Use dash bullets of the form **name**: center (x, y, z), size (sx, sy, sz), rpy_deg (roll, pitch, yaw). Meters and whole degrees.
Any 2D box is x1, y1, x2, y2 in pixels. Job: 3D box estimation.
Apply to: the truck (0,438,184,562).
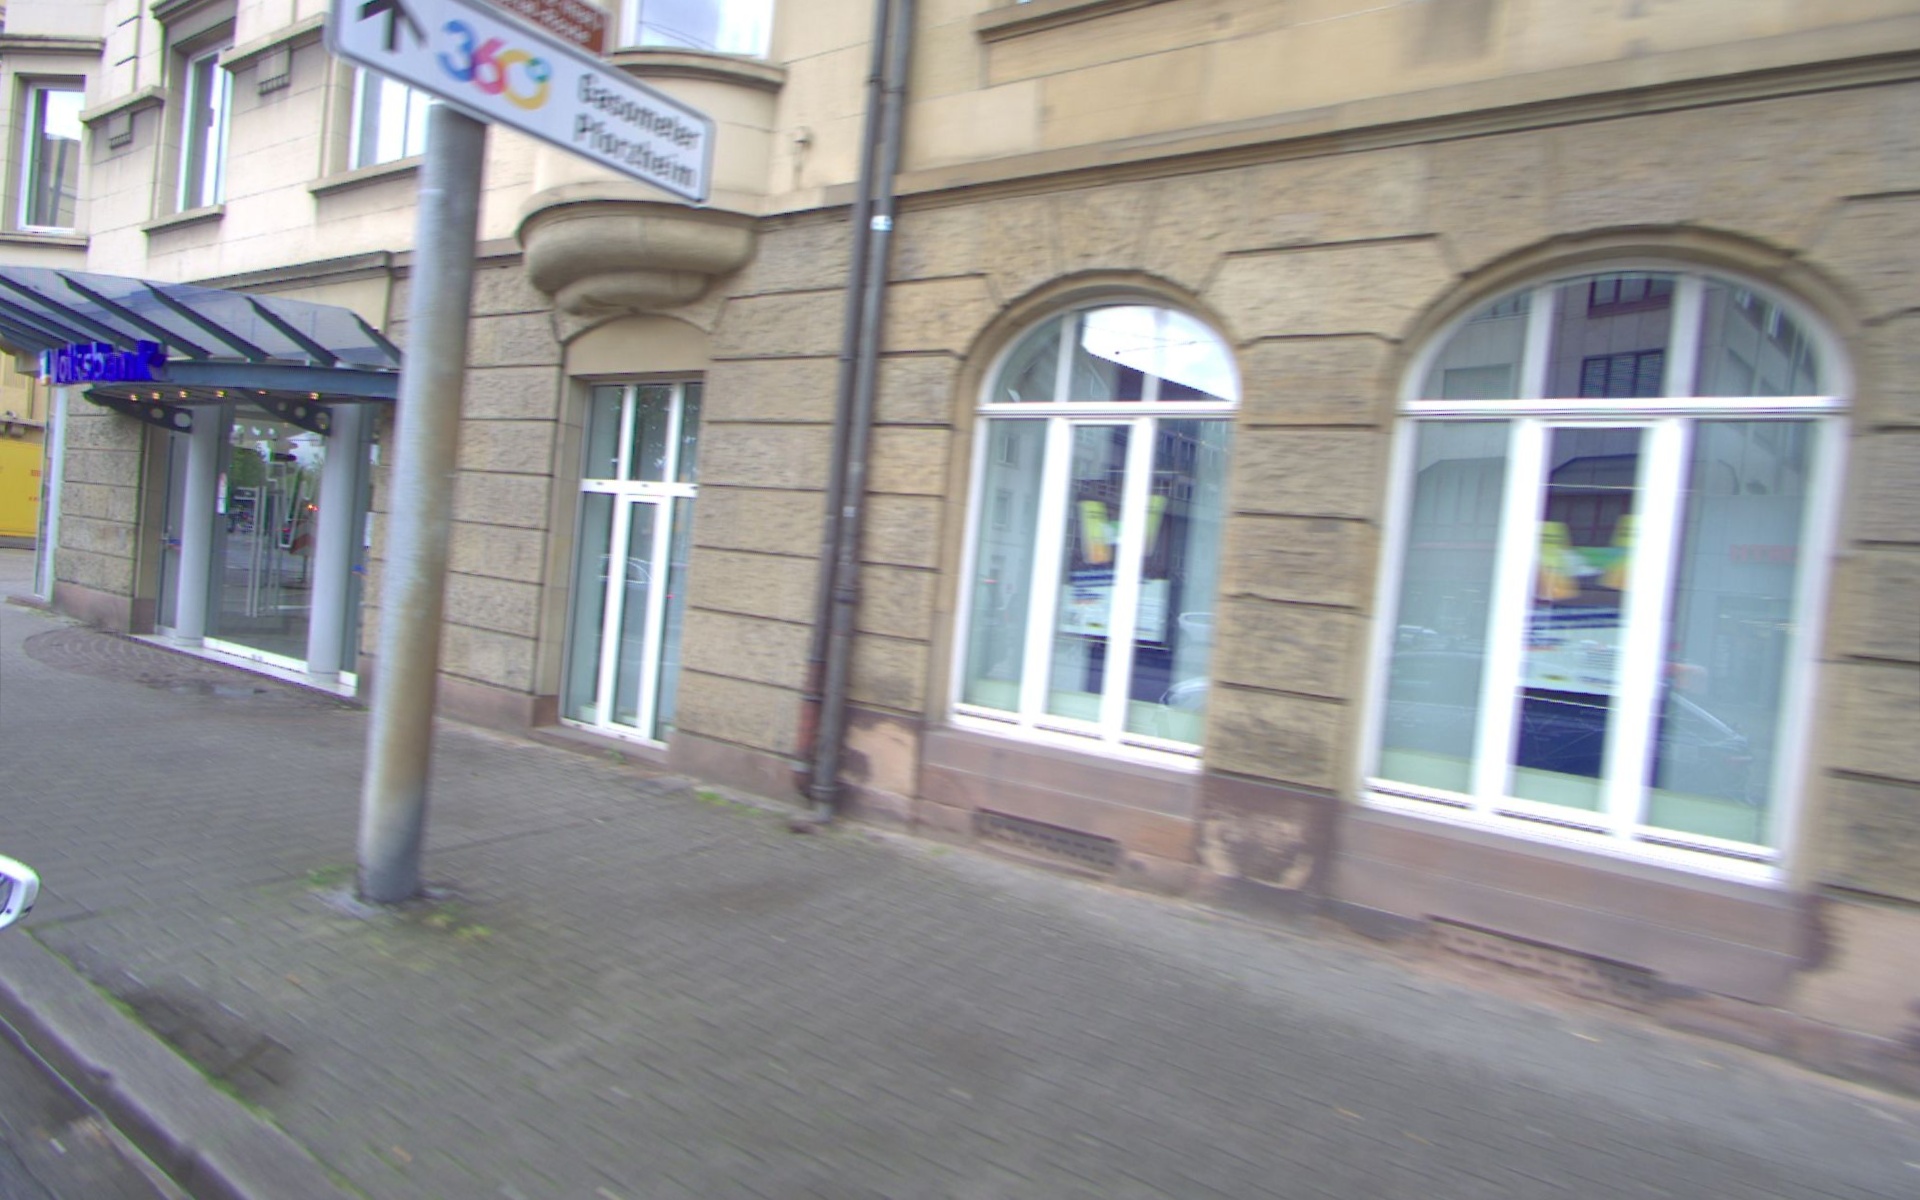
- **truck**: center (-25.763, -2.834, 27.302), size (2.048, 2.887, 7.097), rpy_deg (6, 0, 31)
